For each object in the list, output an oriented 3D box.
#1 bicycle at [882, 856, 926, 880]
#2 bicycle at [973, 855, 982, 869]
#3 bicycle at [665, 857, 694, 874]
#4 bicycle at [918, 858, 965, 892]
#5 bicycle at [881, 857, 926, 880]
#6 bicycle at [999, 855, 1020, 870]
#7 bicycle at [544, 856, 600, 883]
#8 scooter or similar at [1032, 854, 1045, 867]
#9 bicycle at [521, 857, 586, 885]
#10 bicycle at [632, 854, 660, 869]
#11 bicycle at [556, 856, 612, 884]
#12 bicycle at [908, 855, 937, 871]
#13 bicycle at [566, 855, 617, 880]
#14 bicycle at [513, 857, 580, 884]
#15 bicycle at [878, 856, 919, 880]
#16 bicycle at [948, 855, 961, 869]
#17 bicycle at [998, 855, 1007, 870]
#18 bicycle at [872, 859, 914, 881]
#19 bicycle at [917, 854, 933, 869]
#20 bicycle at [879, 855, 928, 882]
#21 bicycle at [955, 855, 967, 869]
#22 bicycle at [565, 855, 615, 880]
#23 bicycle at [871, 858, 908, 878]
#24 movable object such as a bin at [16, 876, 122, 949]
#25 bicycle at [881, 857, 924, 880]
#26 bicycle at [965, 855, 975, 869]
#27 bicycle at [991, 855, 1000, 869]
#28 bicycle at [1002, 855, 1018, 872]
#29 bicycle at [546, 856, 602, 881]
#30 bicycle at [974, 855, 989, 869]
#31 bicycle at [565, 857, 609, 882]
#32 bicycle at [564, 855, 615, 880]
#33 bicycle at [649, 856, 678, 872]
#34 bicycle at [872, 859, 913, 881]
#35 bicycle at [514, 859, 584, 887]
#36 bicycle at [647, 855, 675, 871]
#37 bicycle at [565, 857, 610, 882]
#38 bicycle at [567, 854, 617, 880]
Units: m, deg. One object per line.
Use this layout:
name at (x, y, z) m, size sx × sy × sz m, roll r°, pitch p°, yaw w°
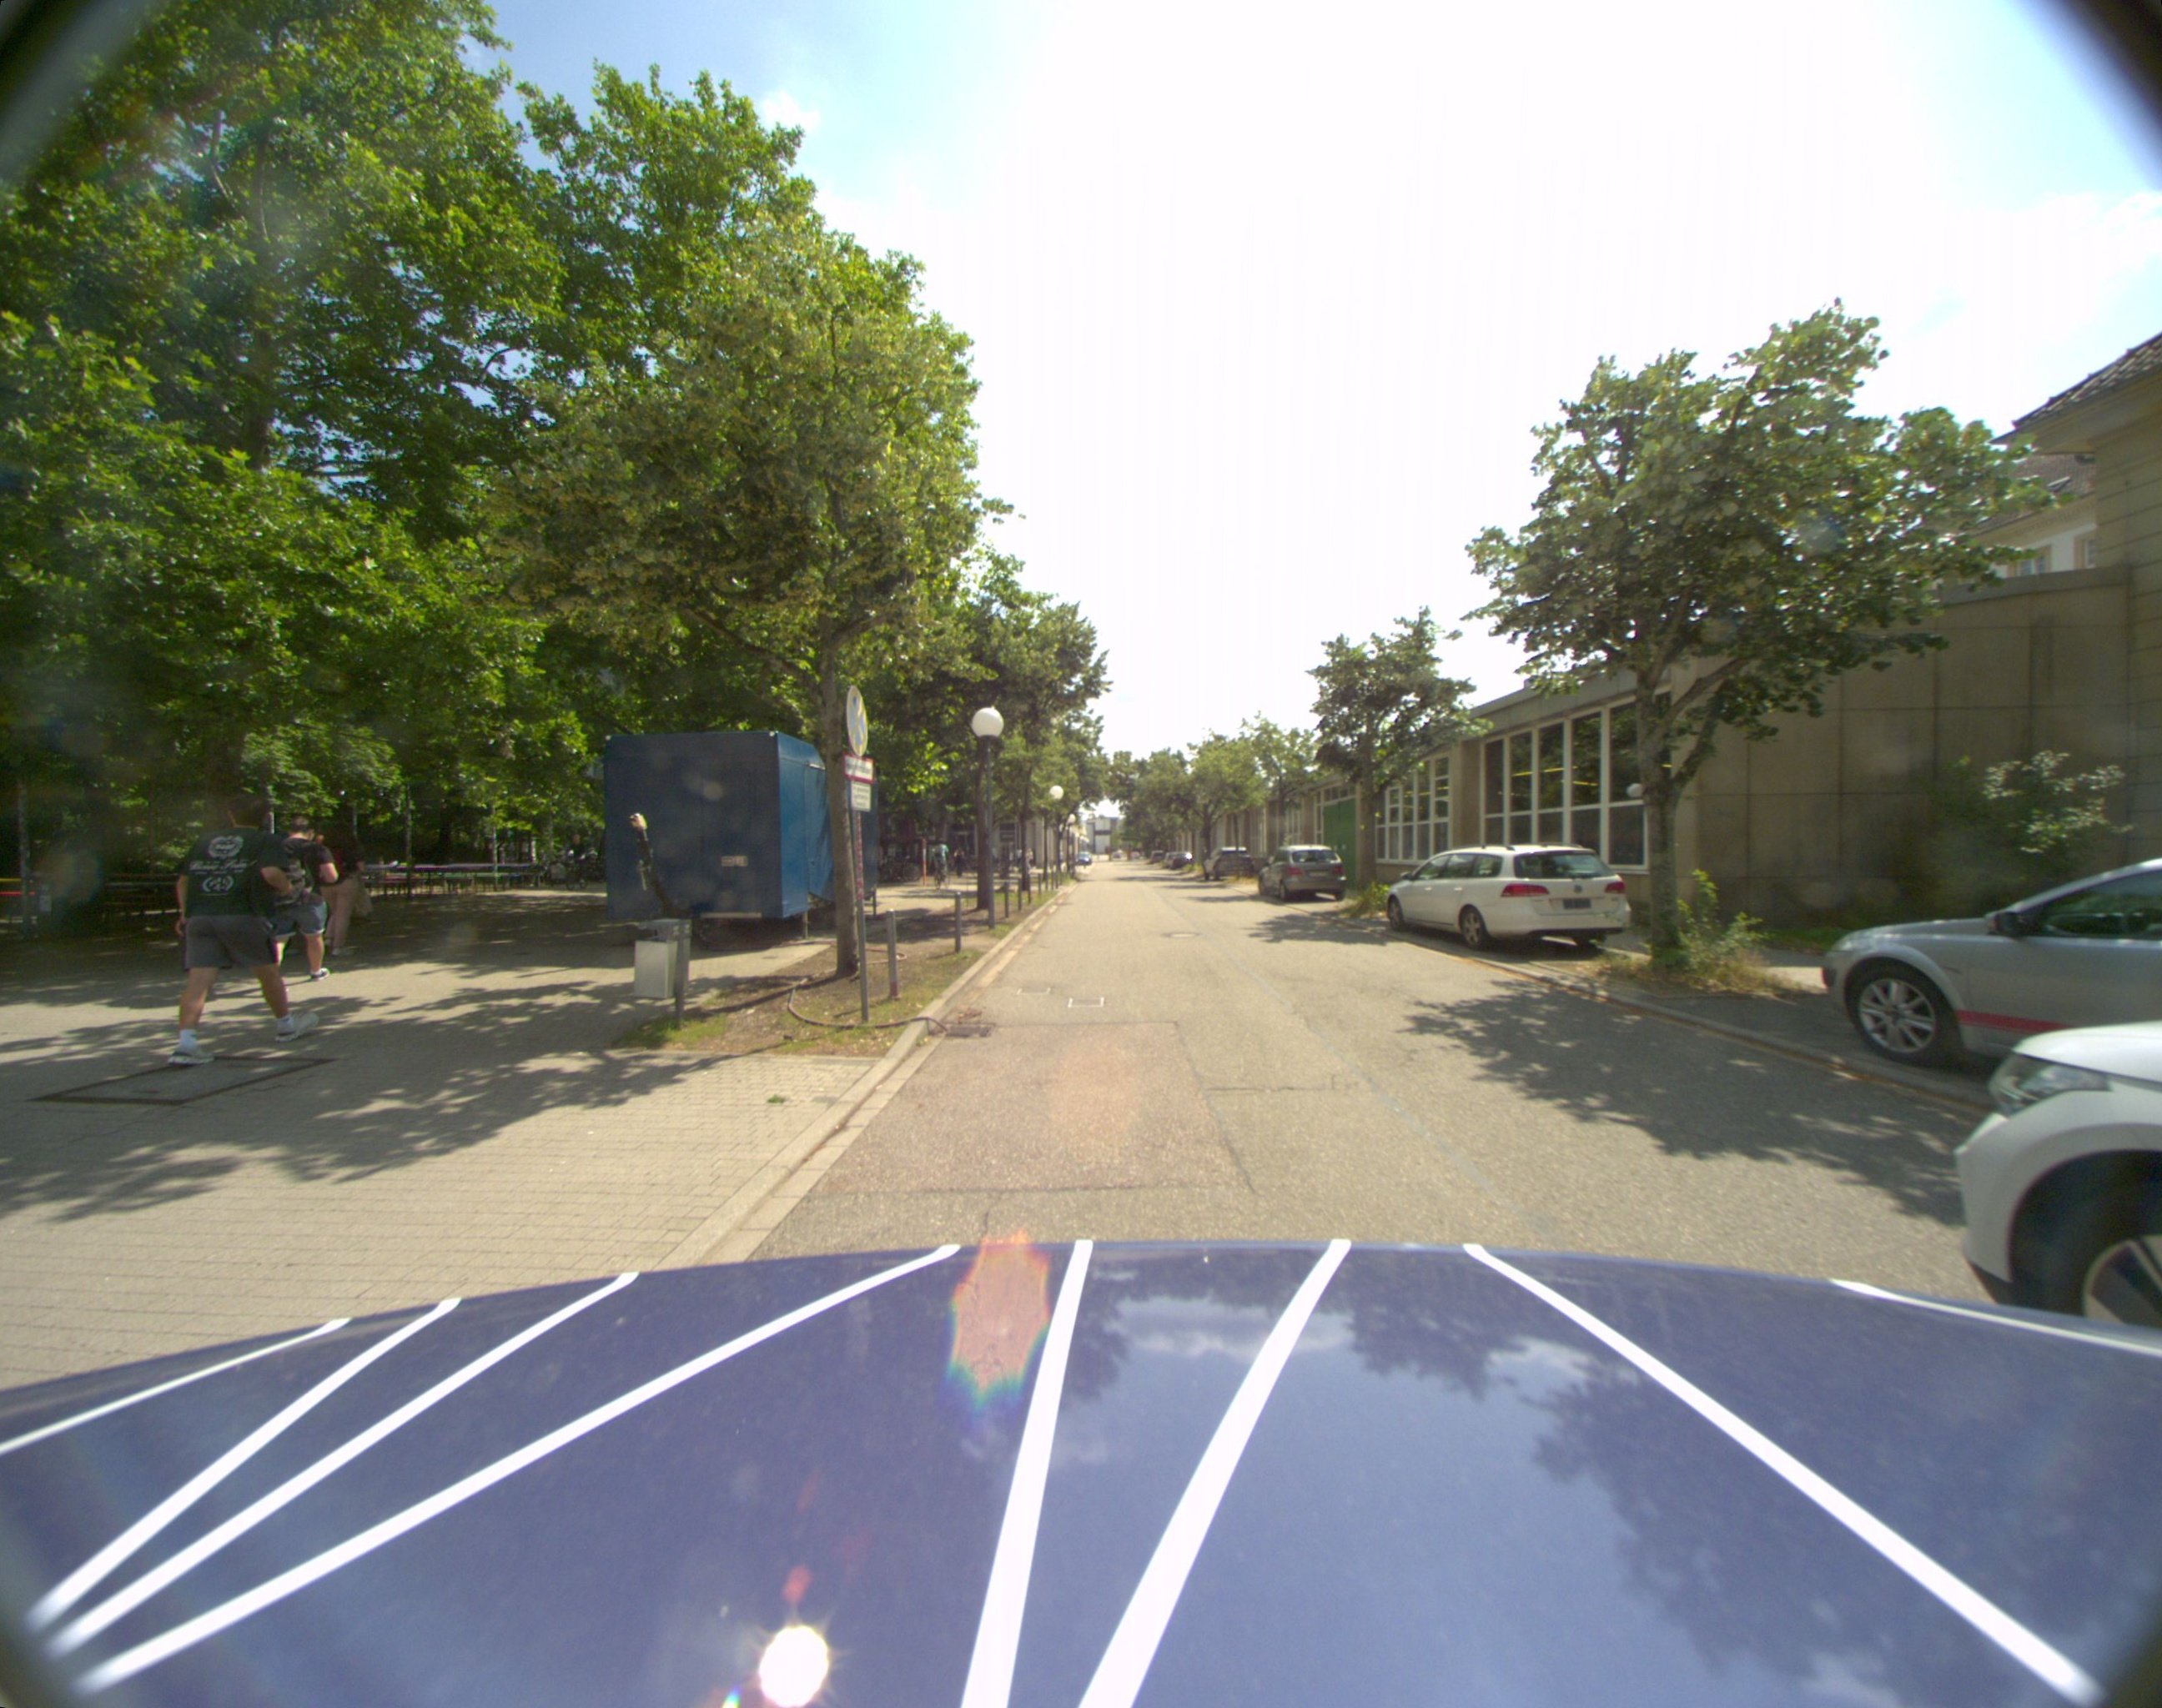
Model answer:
bicycle at (-8.154, 0.635, 35.030) m, size 1.950 × 1.076 × 0.404 m, roll 0°, pitch 0°, yaw -9°
bicycle at (-8.243, 0.647, 60.364) m, size 0.460 × 1.079 × 1.441 m, roll 1°, pitch -1°, yaw 0°
bicycle at (-27.879, 0.781, 52.776) m, size 1.691 × 1.077 × 0.477 m, roll -2°, pitch -1°, yaw -44°
bicycle at (-4.905, 0.712, 26.935) m, size 0.651 × 1.117 × 2.299 m, roll 3°, pitch 1°, yaw 16°
bicycle at (-8.074, 0.655, 34.607) m, size 1.950 × 1.076 × 0.404 m, roll 0°, pitch 0°, yaw -9°
bicycle at (-5.545, 0.673, 58.936) m, size 0.604 × 1.135 × 1.790 m, roll 2°, pitch 1°, yaw 35°
bicycle at (-20.218, 0.607, 30.214) m, size 1.786 × 1.033 × 0.478 m, roll 1°, pitch 1°, yaw -19°
scooter or similar at (-4.391, 0.675, 77.630) m, size 0.566 × 1.205 × 1.506 m, roll -2°, pitch 3°, yaw -38°
bicycle at (-19.694, 0.625, 28.392) m, size 1.961 × 1.033 × 0.434 m, roll 1°, pitch 1°, yaw -17°
bicycle at (-33.026, 0.590, 57.699) m, size 0.477 × 1.077 × 1.692 m, roll -3°, pitch -1°, yaw 39°
bicycle at (-19.376, 0.626, 29.653) m, size 1.786 × 1.033 × 0.434 m, roll 1°, pitch 1°, yaw -19°
bicycle at (-11.205, 0.619, 53.753) m, size 1.928 × 1.103 × 0.631 m, roll -1°, pitch 2°, yaw -34°
bicycle at (-20.734, 0.577, 32.232) m, size 1.755 × 1.033 × 0.478 m, roll 1°, pitch 1°, yaw -19°
bicycle at (-19.637, 0.611, 27.952) m, size 1.961 × 0.973 × 0.438 m, roll 1°, pitch 1°, yaw -17°
bicycle at (-8.158, 0.624, 34.061) m, size 1.773 × 1.076 × 0.438 m, roll 0°, pitch 0°, yaw -9°
bicycle at (-9.989, 0.610, 59.901) m, size 0.481 × 1.079 × 1.698 m, roll 1°, pitch -1°, yaw 8°
bicycle at (-6.161, 0.638, 59.670) m, size 0.561 × 1.135 × 1.489 m, roll 1°, pitch 1°, yaw 0°
bicycle at (-9.055, 0.781, 36.597) m, size 1.916 × 1.053 × 0.325 m, roll 0°, pitch 0°, yaw -21°
bicycle at (-11.781, 0.581, 57.417) m, size 0.463 × 1.071 × 1.829 m, roll 1°, pitch -1°, yaw 10°
bicycle at (-7.699, 0.636, 32.992) m, size 2.021 × 1.160 × 0.651 m, roll 0°, pitch 0°, yaw -9°
bicycle at (-9.485, 0.634, 60.168) m, size 0.481 × 1.079 × 1.516 m, roll 1°, pitch -1°, yaw 8°
bicycle at (-21.150, 0.577, 32.783) m, size 1.755 × 1.087 × 0.477 m, roll 1°, pitch 1°, yaw -24°
bicycle at (-9.791, 0.705, 38.841) m, size 1.742 × 1.046 × 0.493 m, roll 0°, pitch 0°, yaw -34°
movable object such as a bin at (-15.861, 0.904, 11.926) m, size 0.600 × 1.065 × 0.742 m, roll 0°, pitch 3°, yaw 3°
bicycle at (-8.363, 0.658, 35.710) m, size 1.950 × 1.076 × 0.404 m, roll 0°, pitch 0°, yaw -9°
bicycle at (-8.730, 0.639, 60.016) m, size 0.460 × 1.079 × 1.474 m, roll 1°, pitch -1°, yaw 4°
bicycle at (-7.601, 0.680, 67.861) m, size 0.531 × 1.235 × 1.829 m, roll 0°, pitch 1°, yaw 1°
bicycle at (-4.995, 0.651, 53.395) m, size 0.629 × 1.078 × 1.684 m, roll -3°, pitch 3°, yaw -21°
bicycle at (-20.644, 0.592, 30.985) m, size 1.834 × 1.033 × 0.478 m, roll 1°, pitch 1°, yaw -19°
bicycle at (-7.827, 0.634, 59.724) m, size 0.491 × 1.134 × 1.529 m, roll 1°, pitch -1°, yaw 22°
bicycle at (-21.830, 0.666, 33.602) m, size 1.612 × 1.087 × 0.347 m, roll 1°, pitch 1°, yaw -17°
bicycle at (-20.619, 0.579, 31.891) m, size 1.755 × 1.033 × 0.347 m, roll 1°, pitch 1°, yaw -19°
bicycle at (-30.097, 0.695, 54.772) m, size 0.477 × 1.077 × 1.692 m, roll -3°, pitch -1°, yaw 41°
bicycle at (-9.153, 0.779, 36.891) m, size 1.916 × 1.053 × 0.325 m, roll 0°, pitch 0°, yaw -21°
bicycle at (-19.032, 0.685, 27.220) m, size 1.961 × 0.973 × 0.612 m, roll 1°, pitch 1°, yaw -17°
bicycle at (-30.889, 0.670, 55.923) m, size 0.477 × 1.077 × 1.692 m, roll -3°, pitch -1°, yaw 41°
bicycle at (-21.818, 0.668, 33.607) m, size 1.612 × 1.087 × 0.347 m, roll 1°, pitch 1°, yaw -17°
bicycle at (-21.291, 0.573, 33.101) m, size 1.755 × 1.087 × 0.477 m, roll 1°, pitch 1°, yaw -24°
